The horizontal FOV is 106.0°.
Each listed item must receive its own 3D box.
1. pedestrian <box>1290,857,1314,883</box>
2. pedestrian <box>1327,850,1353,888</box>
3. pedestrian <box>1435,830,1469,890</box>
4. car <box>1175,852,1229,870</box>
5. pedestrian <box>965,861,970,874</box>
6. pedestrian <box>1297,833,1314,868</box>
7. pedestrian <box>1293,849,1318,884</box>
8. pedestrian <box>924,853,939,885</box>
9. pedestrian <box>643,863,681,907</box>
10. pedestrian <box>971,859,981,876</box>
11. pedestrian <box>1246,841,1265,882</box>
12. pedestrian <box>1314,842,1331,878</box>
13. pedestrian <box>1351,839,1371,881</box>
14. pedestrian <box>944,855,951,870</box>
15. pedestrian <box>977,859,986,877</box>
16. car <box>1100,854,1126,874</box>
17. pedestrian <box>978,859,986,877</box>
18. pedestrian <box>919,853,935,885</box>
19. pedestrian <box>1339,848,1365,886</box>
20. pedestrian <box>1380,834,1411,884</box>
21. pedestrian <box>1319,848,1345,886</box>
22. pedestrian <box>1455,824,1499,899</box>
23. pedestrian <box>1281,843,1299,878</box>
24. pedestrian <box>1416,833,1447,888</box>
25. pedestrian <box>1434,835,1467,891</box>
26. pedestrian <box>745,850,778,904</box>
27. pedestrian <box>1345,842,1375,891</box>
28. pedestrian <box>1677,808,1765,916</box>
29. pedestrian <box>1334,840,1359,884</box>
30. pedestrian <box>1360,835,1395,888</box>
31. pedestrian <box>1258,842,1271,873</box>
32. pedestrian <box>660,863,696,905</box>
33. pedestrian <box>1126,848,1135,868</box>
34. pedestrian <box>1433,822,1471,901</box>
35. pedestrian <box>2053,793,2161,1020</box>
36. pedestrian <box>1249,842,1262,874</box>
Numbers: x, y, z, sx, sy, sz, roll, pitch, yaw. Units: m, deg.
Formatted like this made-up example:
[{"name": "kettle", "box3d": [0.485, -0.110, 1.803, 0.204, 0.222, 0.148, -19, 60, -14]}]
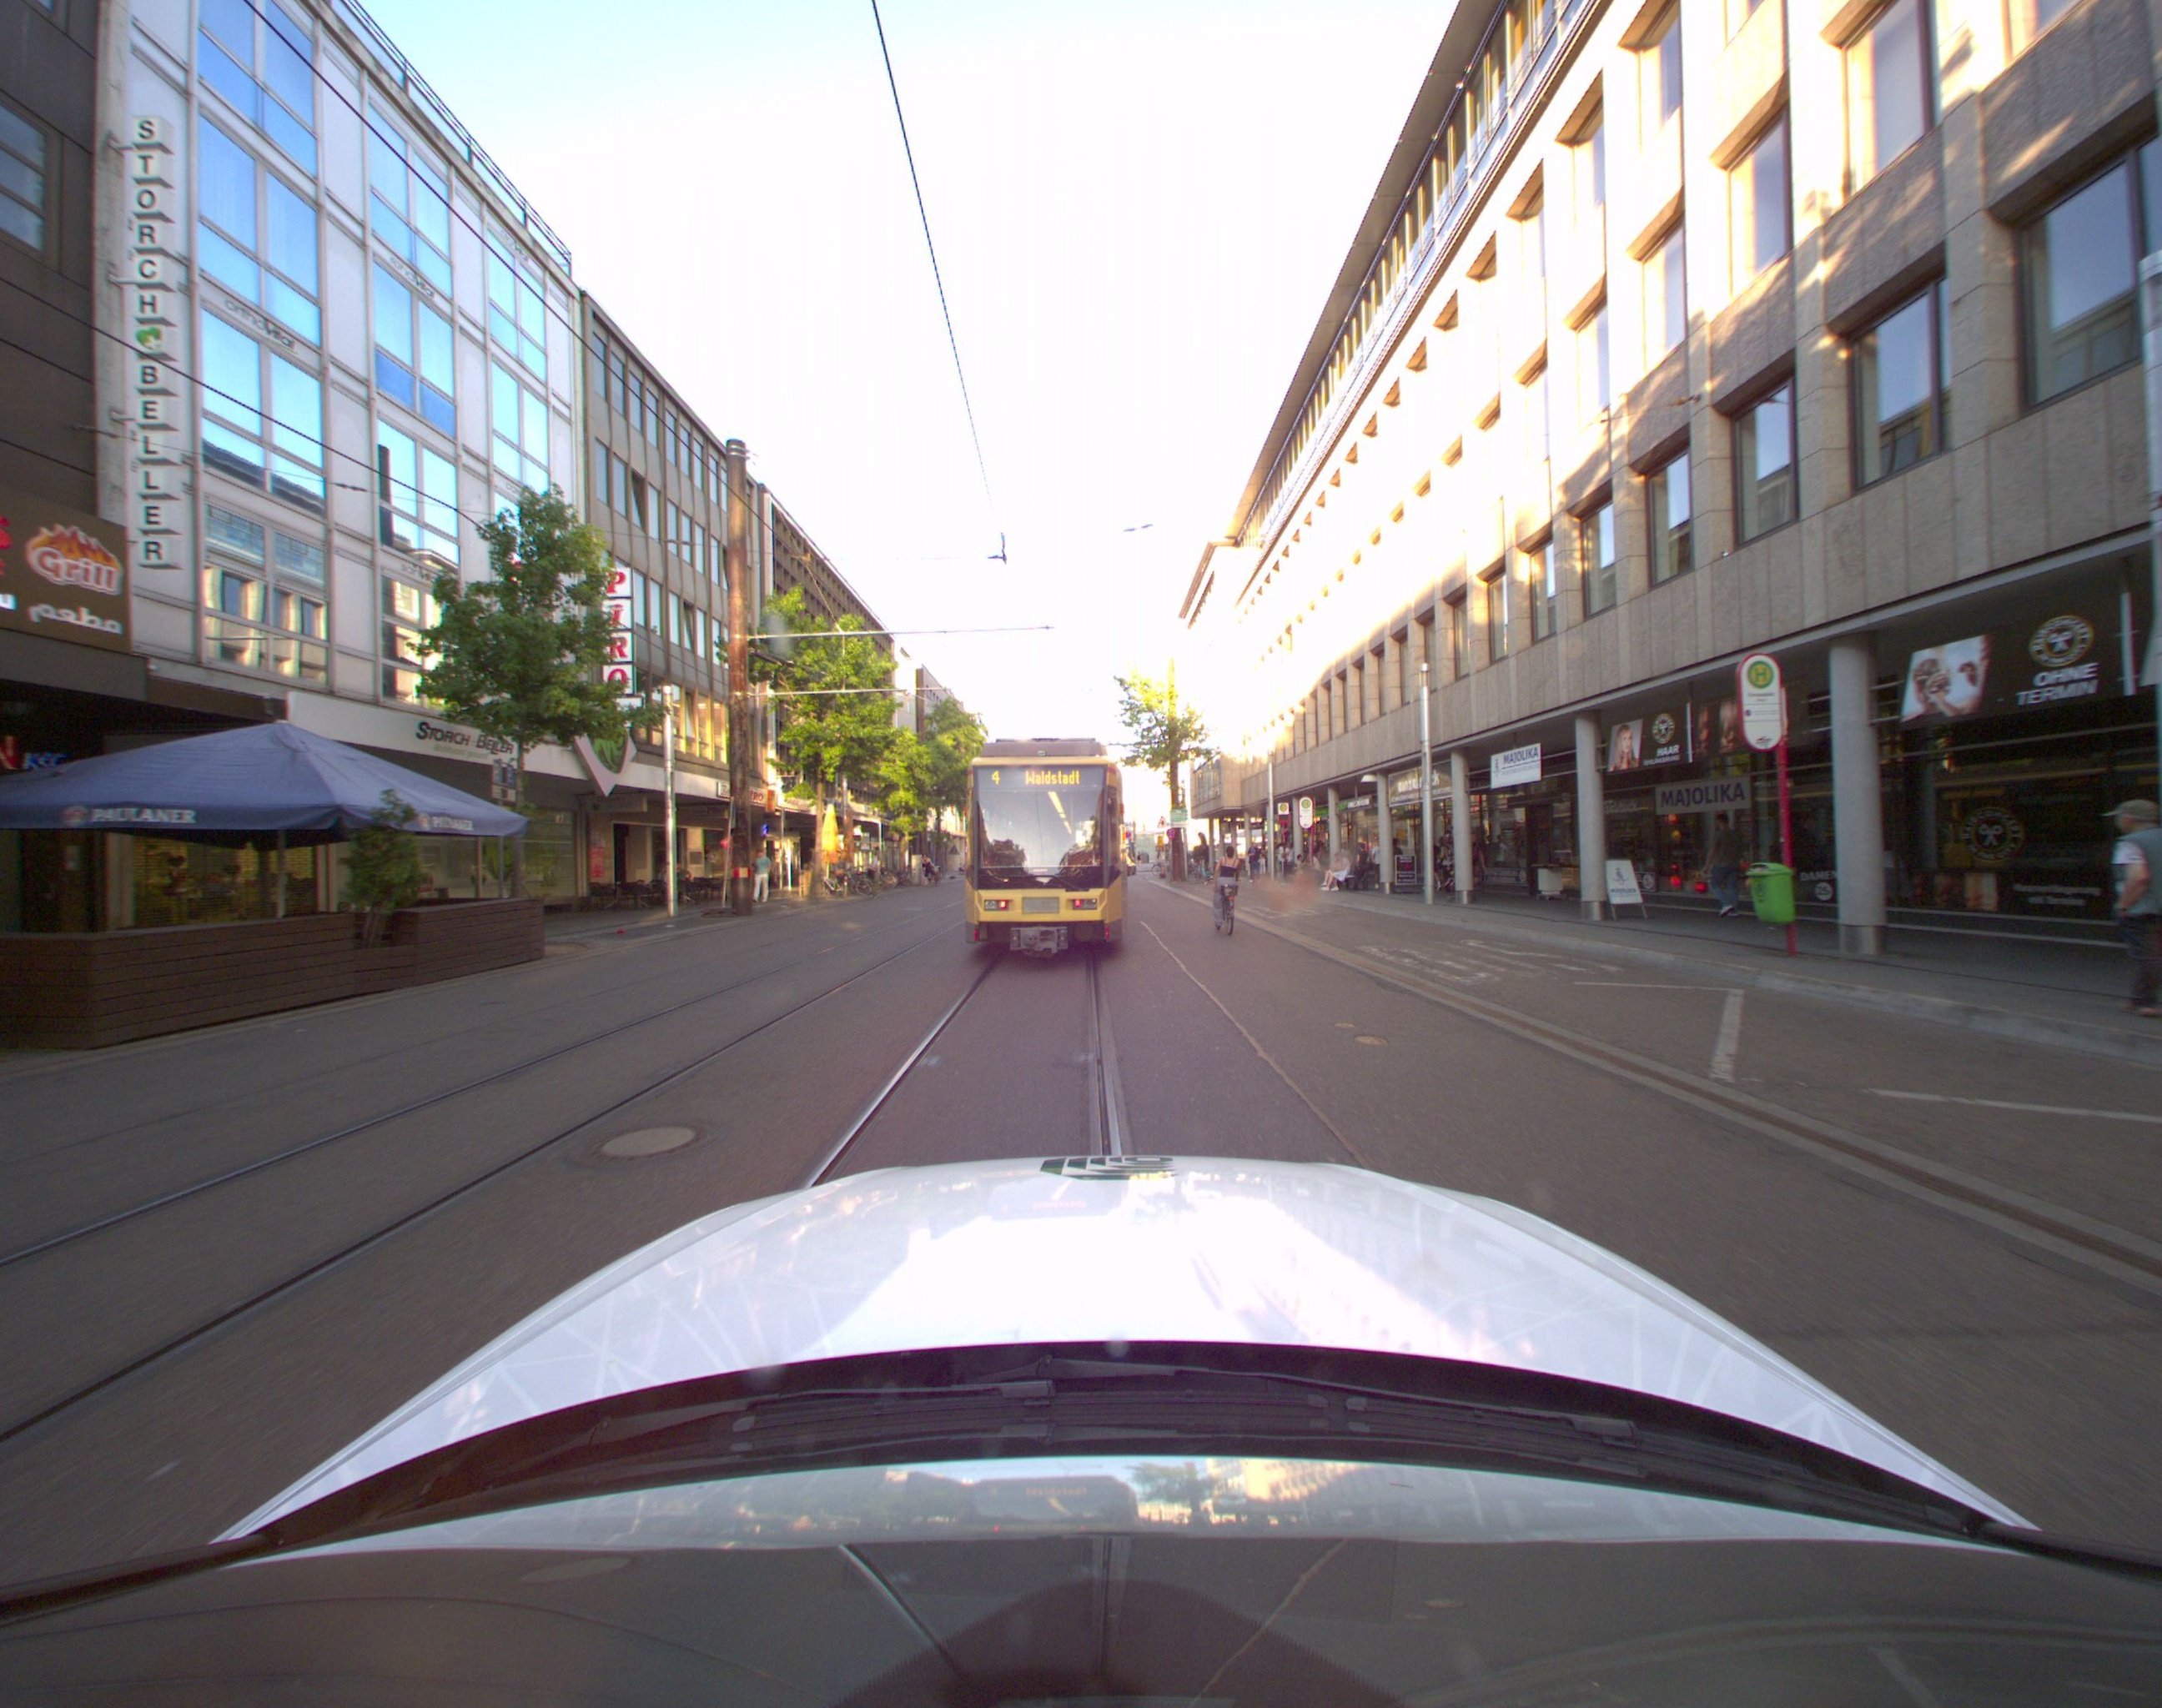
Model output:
[{"name": "pedestrian", "box3d": [8.918, 0.654, 32.841, 0.810, 1.042, 0.544, -1, -1, 1]}, {"name": "pedestrian", "box3d": [8.934, 0.517, 28.120, 0.715, 1.314, 0.524, -1, -1, 1]}, {"name": "pedestrian", "box3d": [12.095, 0.192, 26.544, 0.685, 1.883, 0.773, -2, 0, -1]}, {"name": "car", "box3d": [9.817, 0.602, 66.110, 3.899, 1.409, 1.765, -1, -1, -18]}, {"name": "pedestrian", "box3d": [-13.282, 1.591, 95.425, 0.508, 1.547, 0.516, -1, -1, -8]}, {"name": "pedestrian", "box3d": [11.898, -0.179, 43.176, 0.660, 1.787, 0.719, -2, -1, 0]}, {"name": "pedestrian", "box3d": [8.844, 0.491, 32.104, 0.810, 1.381, 0.662, -1, -1, 1]}, {"name": "pedestrian", "box3d": [-8.047, 0.811, 43.897, 0.595, 1.699, 0.539, -1, 0, 29]}, {"name": "pedestrian", "box3d": [-12.880, 0.951, 25.065, 0.668, 1.325, 0.911, 1, -1, -1]}, {"name": "pedestrian", "box3d": [-9.407, 1.194, 72.823, 0.548, 1.434, 0.689, -2, -1, 38]}, {"name": "pedestrian", "box3d": [7.850, 0.339, 36.675, 0.666, 1.839, 0.708, -2, -1, 0]}, {"name": "pedestrian", "box3d": [11.776, 0.286, 39.642, 0.568, 1.731, 0.617, -2, 0, -1]}, {"name": "pedestrian", "box3d": [11.719, 0.248, 34.068, 0.568, 1.731, 0.617, -2, 0, -1]}, {"name": "pedestrian", "box3d": [-16.406, 1.049, 99.734, 0.711, 1.725, 0.709, -2, -1, -2]}, {"name": "pedestrian", "box3d": [-8.551, 1.172, 69.971, 0.685, 1.542, 0.602, -1, -1, -15]}, {"name": "car", "box3d": [2.422, 0.758, 60.488, 1.762, 1.409, 4.056, -1, -1, 4]}, {"name": "pedestrian", "box3d": [-8.412, 1.196, 69.225, 0.603, 1.494, 0.554, -1, -1, -8]}, {"name": "pedestrian", "box3d": [-8.383, 0.819, 44.375, 0.595, 1.699, 0.539, -1, 0, 29]}, {"name": "pedestrian", "box3d": [9.572, 0.460, 28.783, 0.715, 1.314, 0.532, -1, -1, 1]}, {"name": "pedestrian", "box3d": [11.570, 0.191, 29.998, 0.770, 1.772, 0.773, -2, -1, -1]}, {"name": "pedestrian", "box3d": [8.834, 0.468, 28.668, 0.715, 1.314, 0.532, -1, -1, 1]}, {"name": "pedestrian", "box3d": [10.345, 0.202, 21.285, 0.704, 1.889, 0.796, -2, -1, 1]}, {"name": "pedestrian", "box3d": [10.253, 0.304, 39.927, 0.646, 1.661, 0.650, -2, 0, 1]}, {"name": "pedestrian", "box3d": [11.434, 0.200, 26.588, 0.580, 1.753, 0.773, -2, 0, -1]}, {"name": "pedestrian", "box3d": [11.317, 0.277, 24.976, 0.646, 1.661, 0.681, -2, 0, 1]}, {"name": "pedestrian", "box3d": [-10.887, 0.762, 27.778, 0.681, 1.792, 0.991, 1, -1, 3]}, {"name": "pedestrian", "box3d": [9.279, 0.409, 27.123, 0.722, 1.570, 0.736, -2, -1, 2]}, {"name": "pedestrian", "box3d": [11.733, 0.149, 14.956, 0.841, 1.889, 0.899, -2, -1, 0]}, {"name": "pedestrian", "box3d": [10.458, 0.317, 32.128, 0.685, 1.661, 0.722, -2, -1, 2]}, {"name": "pedestrian", "box3d": [10.333, 0.255, 28.392, 0.841, 1.797, 0.859, -2, -1, 0]}, {"name": "pedestrian", "box3d": [10.642, 0.209, 47.163, 0.537, 1.806, 0.604, -2, 0, -1]}, {"name": "pedestrian", "box3d": [-12.995, 0.946, 26.259, 0.668, 1.325, 0.911, 1, -1, -1]}, {"name": "pedestrian", "box3d": [4.452, 0.364, 73.447, 0.715, 1.725, 0.709, -2, -1, 1]}, {"name": "pedestrian", "box3d": [9.452, 0.187, 20.775, 0.576, 1.944, 0.655, -2, -1, 0]}, {"name": "pedestrian", "box3d": [7.902, 0.370, 6.021, 0.666, 1.588, 0.638, 0, -1, 0]}, {"name": "pedestrian", "box3d": [10.082, 0.215, 46.973, 0.537, 1.806, 0.604, -2, 0, -1]}]
